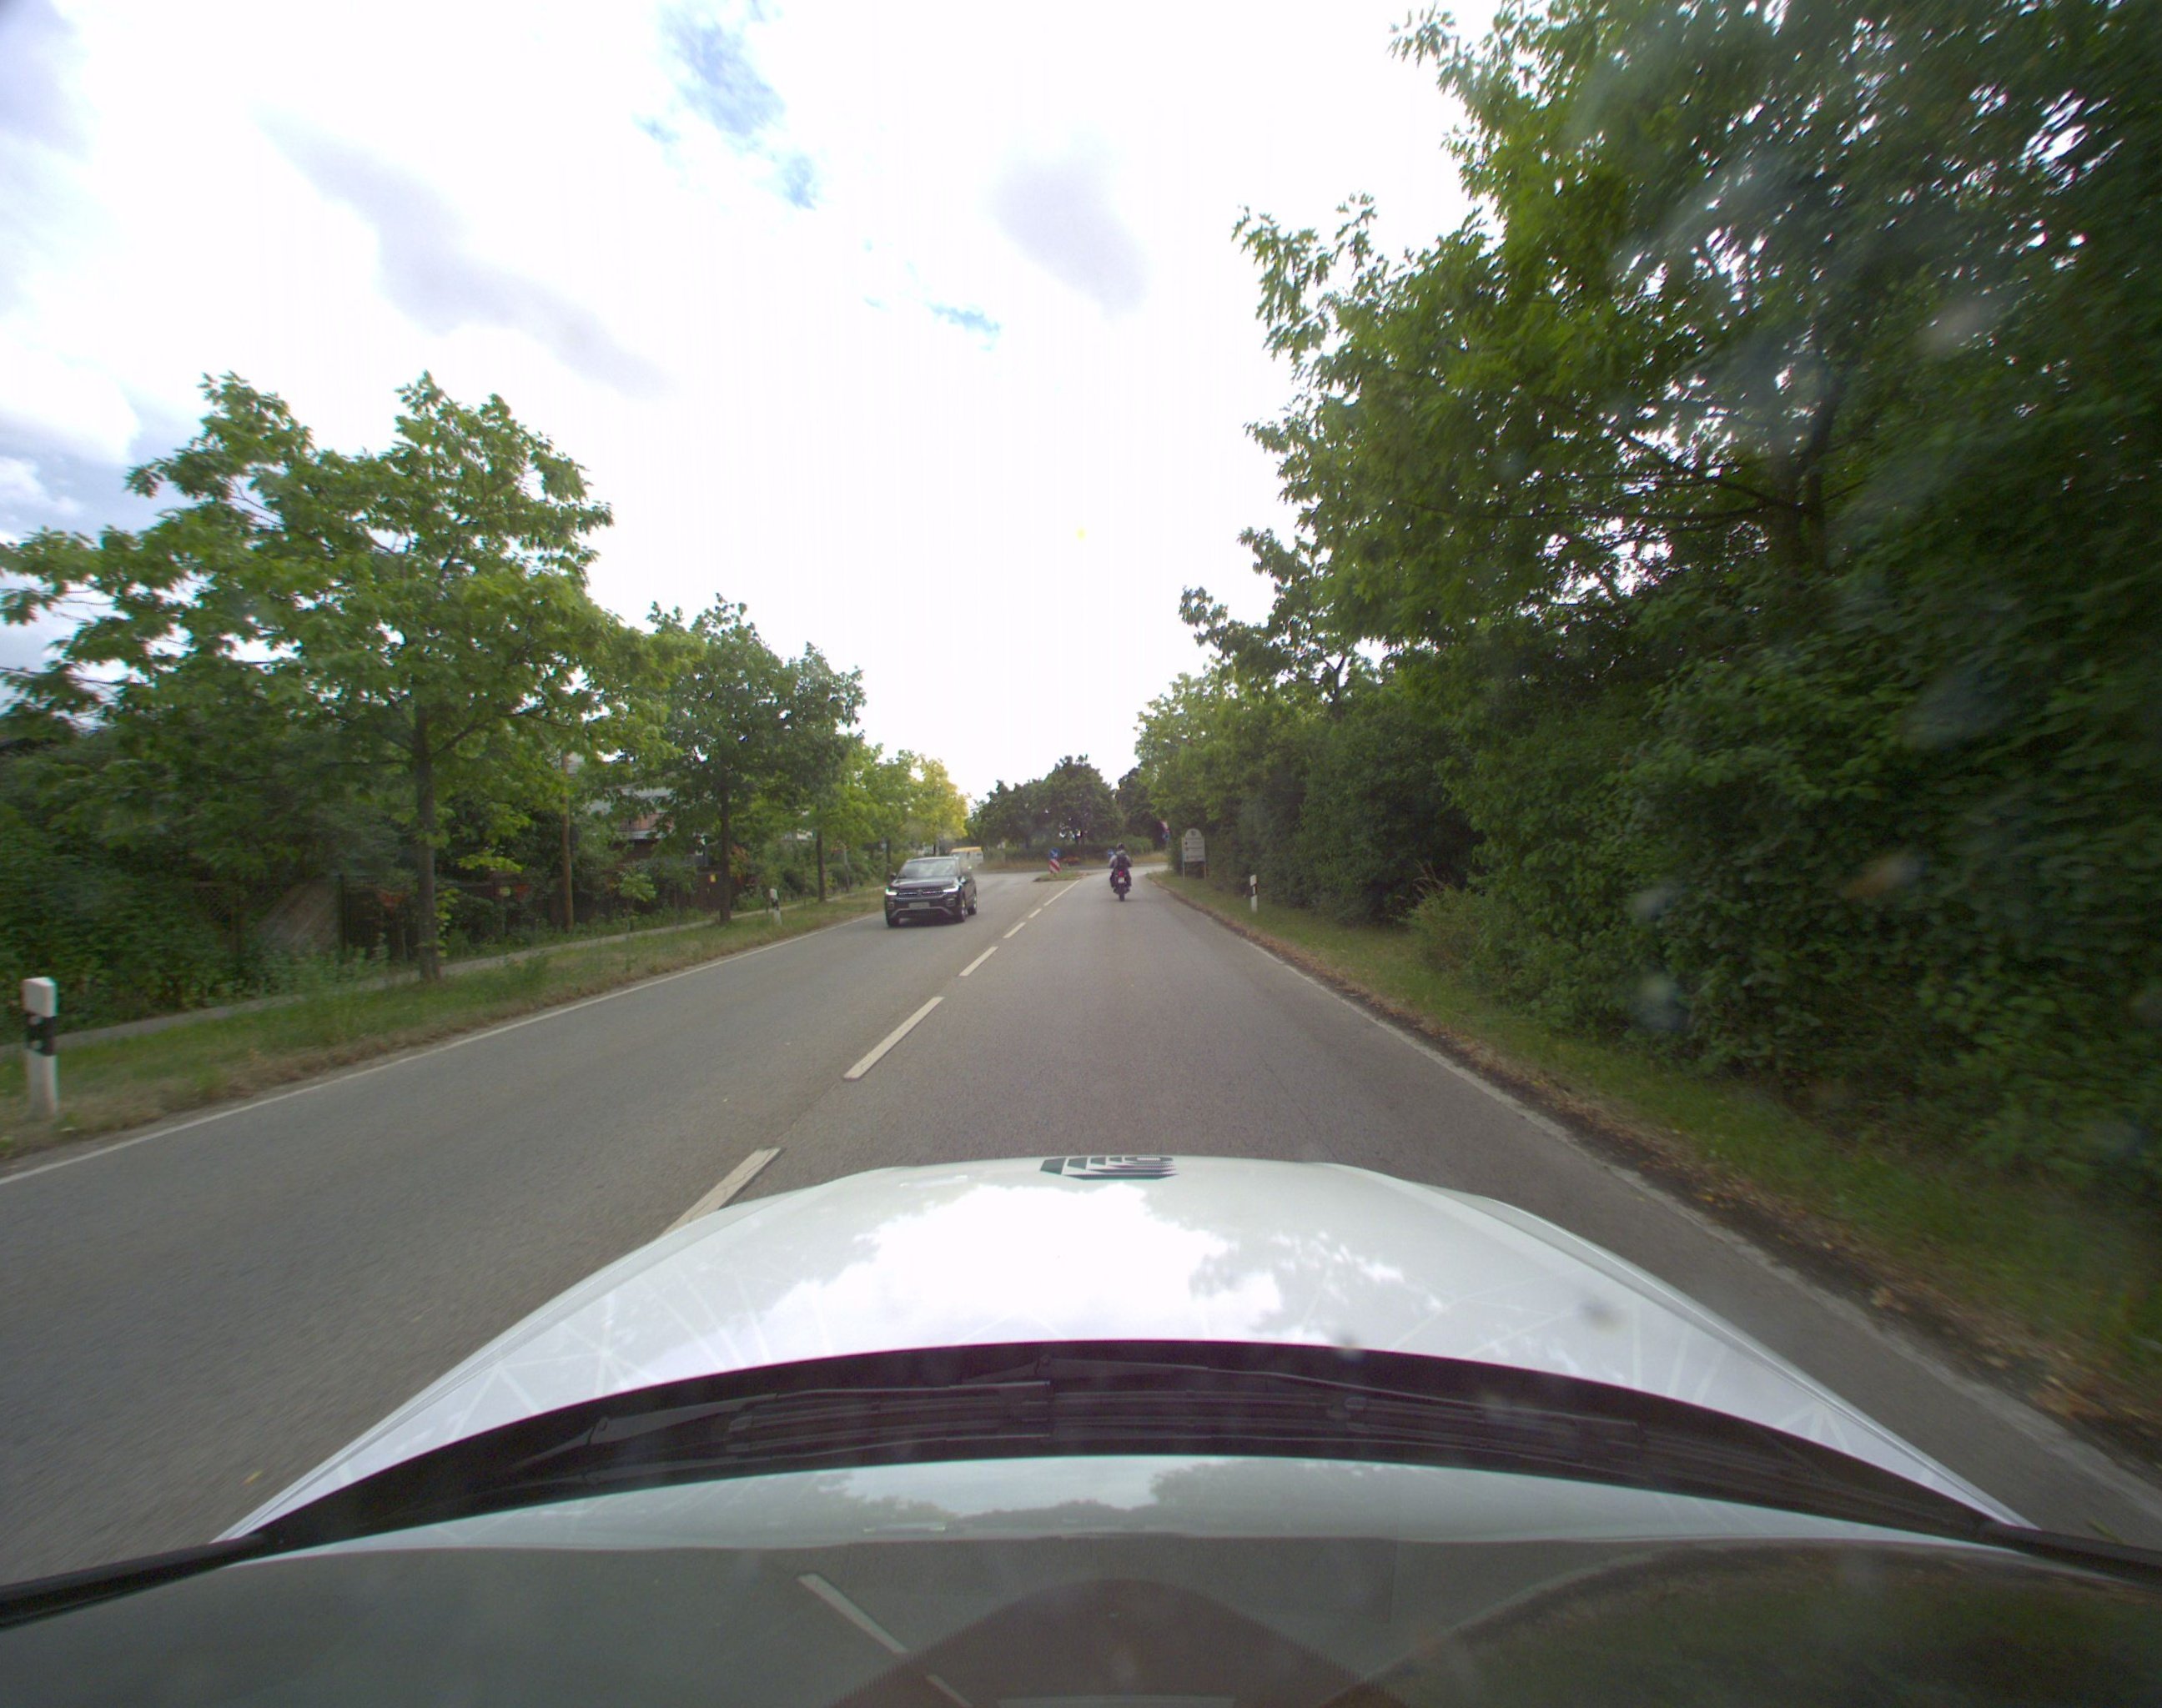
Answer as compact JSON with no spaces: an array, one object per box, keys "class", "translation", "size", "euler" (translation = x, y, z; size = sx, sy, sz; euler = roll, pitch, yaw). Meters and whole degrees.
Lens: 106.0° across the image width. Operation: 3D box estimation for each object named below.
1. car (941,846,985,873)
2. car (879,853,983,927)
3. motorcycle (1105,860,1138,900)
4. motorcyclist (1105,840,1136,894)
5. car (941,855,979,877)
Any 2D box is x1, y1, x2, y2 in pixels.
[{"class":"car","translation":[-11.666,0.484,81.112],"size":[2.145,2.452,5.466],"euler":[-3,0,16]},{"class":"car","translation":[-3.527,0.788,19.856],"size":[1.728,1.534,4.093],"euler":[-3,0,-1]},{"class":"motorcycle","translation":[1.262,0.785,25.771],"size":[0.893,1.158,2.620],"euler":[-2,0,0]},{"class":"motorcyclist","translation":[1.232,0.400,25.691],"size":[0.858,1.623,1.191],"euler":[-2,0,1]},{"class":"car","translation":[-10.159,1.025,68.197],"size":[1.748,1.585,4.316],"euler":[-4,0,-28]}]
